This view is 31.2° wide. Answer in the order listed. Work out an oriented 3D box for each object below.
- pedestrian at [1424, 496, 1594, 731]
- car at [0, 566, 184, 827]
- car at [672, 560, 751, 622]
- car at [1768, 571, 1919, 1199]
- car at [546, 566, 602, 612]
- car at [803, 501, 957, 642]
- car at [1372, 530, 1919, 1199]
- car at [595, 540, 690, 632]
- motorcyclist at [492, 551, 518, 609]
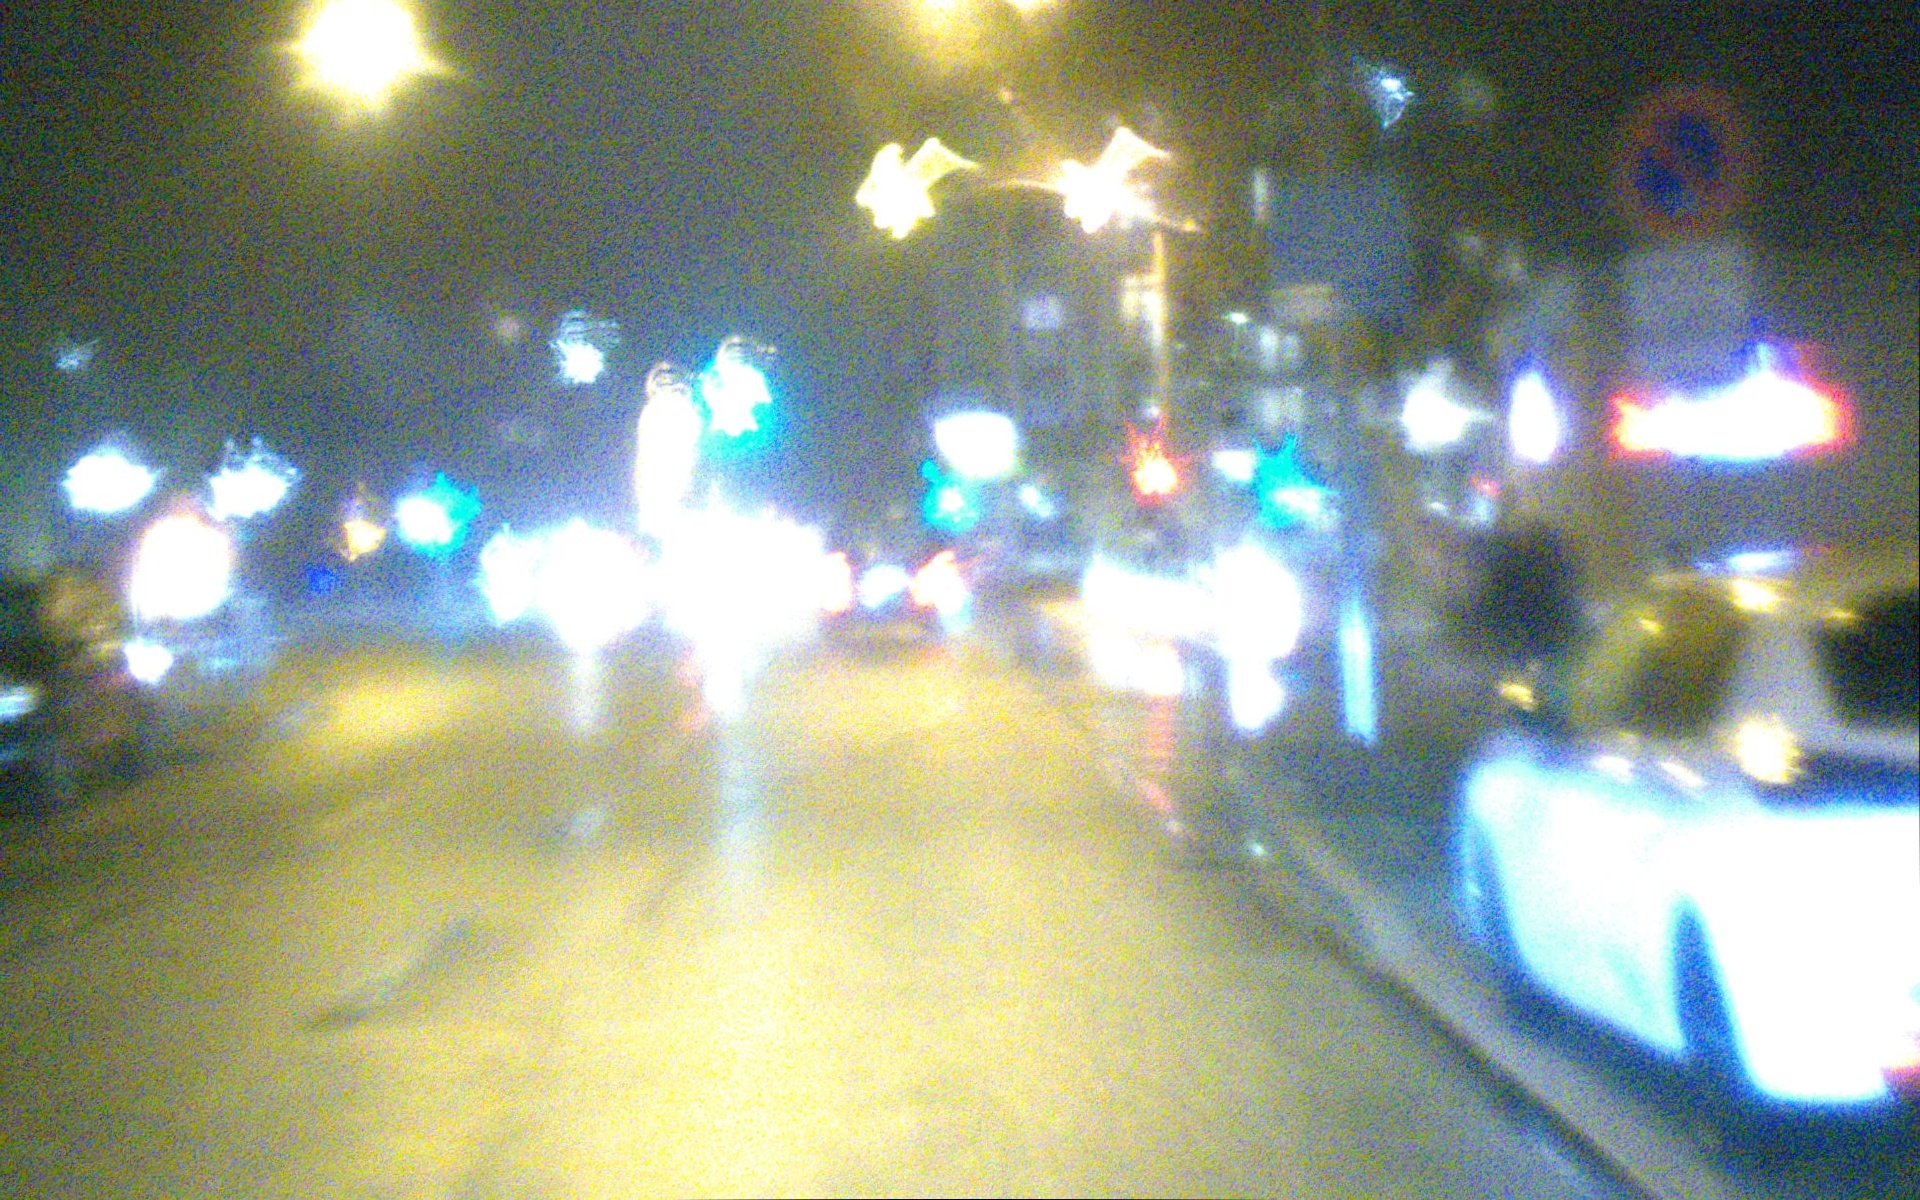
[{"bbox_3d":[3.767,0.088,23.677,1.050,1.570,1.018,-1,0,4],"label":"pedestrian"},{"bbox_3d":[-6.486,0.613,22.809,1.598,1.558,4.380,-4,1,0],"label":"car"},{"bbox_3d":[-6.599,-0.242,91.071,1.817,1.537,4.727,-2,0,-7],"label":"car"},{"bbox_3d":[2.323,0.651,3.405,1.822,1.417,4.489,-3,1,-1],"label":"car"},{"bbox_3d":[-13.760,-0.414,122.413,1.852,1.494,4.771,-2,1,-7],"label":"car"},{"bbox_3d":[-1.206,-0.448,52.057,2.168,1.965,4.302,-2,1,-1],"label":"car"},{"bbox_3d":[2.450,0.588,9.653,1.822,1.525,4.783,-3,1,-1],"label":"car"},{"bbox_3d":[-7.420,-0.366,80.834,2.034,1.947,5.201,-4,2,-4],"label":"car"},{"bbox_3d":[-15.914,-0.695,120.252,0.693,2.007,0.982,-2,1,1],"label":"motorcyclist"}]
